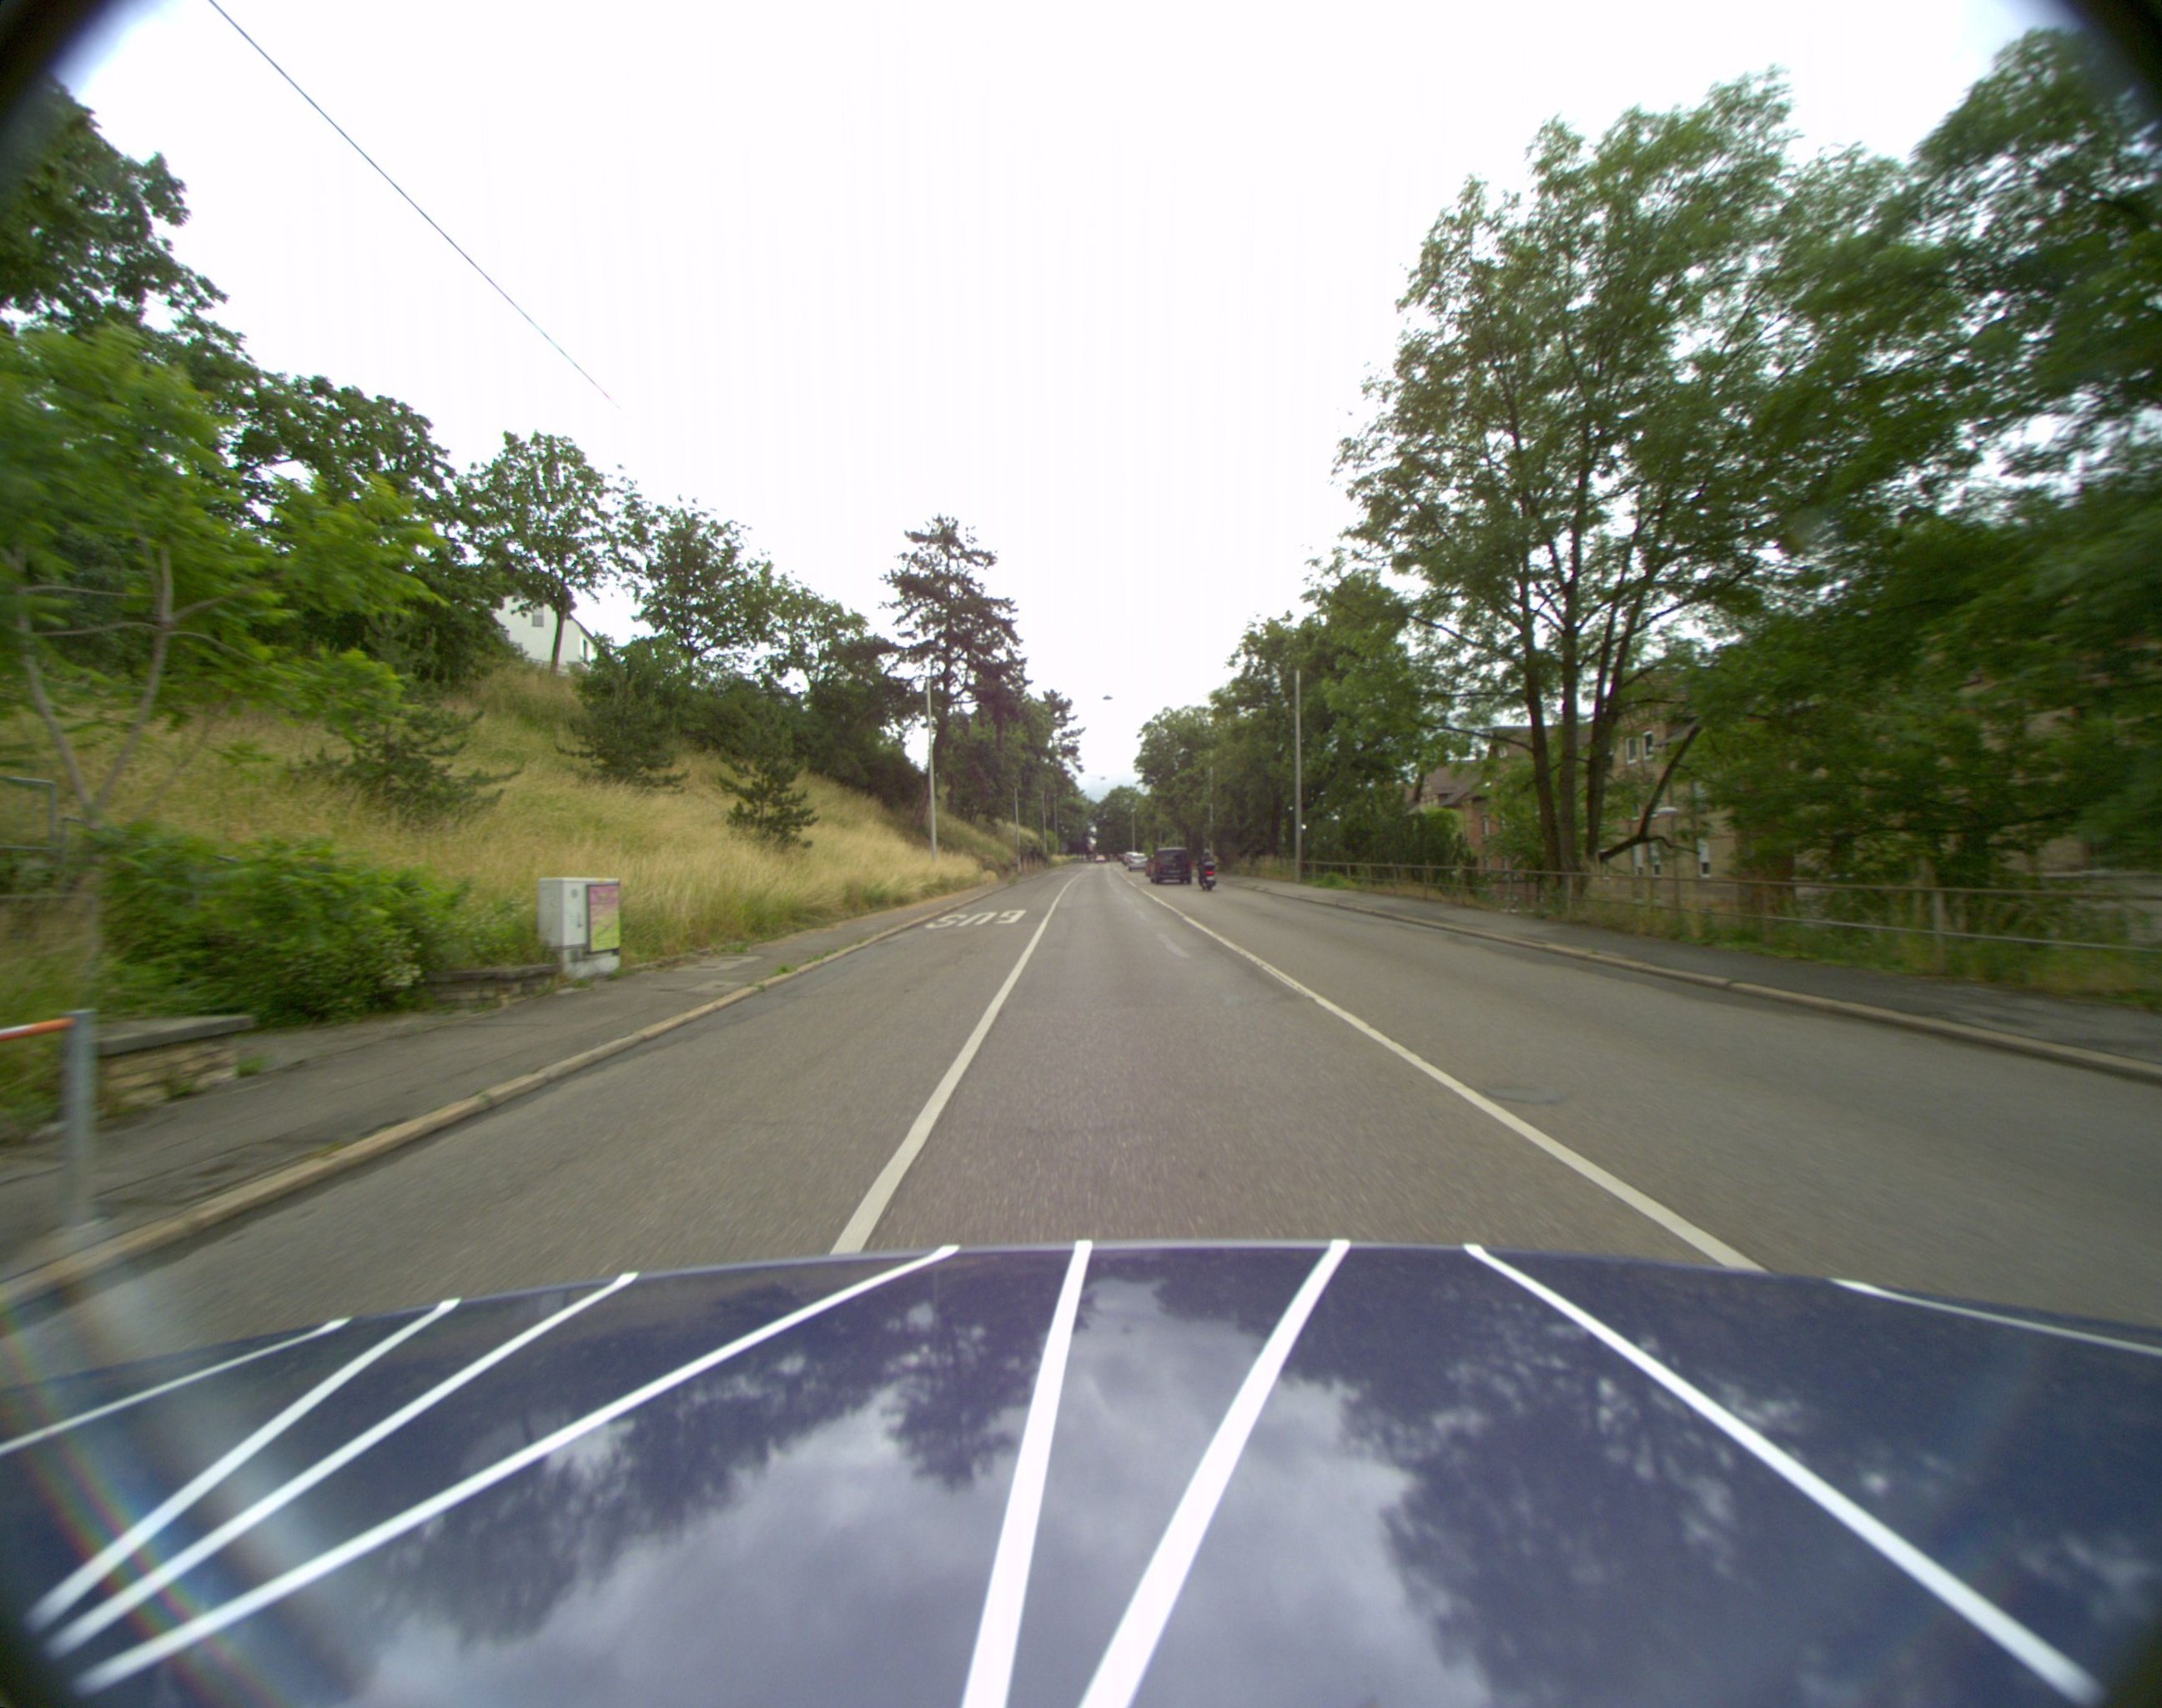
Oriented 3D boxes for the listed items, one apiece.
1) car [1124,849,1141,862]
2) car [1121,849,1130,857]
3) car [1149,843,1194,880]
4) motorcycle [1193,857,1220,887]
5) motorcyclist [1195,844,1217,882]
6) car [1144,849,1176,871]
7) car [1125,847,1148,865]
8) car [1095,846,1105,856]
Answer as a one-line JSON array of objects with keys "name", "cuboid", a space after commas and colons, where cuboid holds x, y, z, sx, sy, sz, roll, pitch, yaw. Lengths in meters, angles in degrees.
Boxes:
[{"name": "car", "cuboid": [6.669, 0.179, 99.034, 2.000, 1.673, 4.663, -1, 0, 2]}, {"name": "car", "cuboid": [8.507, -0.228, 144.860, 1.673, 1.439, 3.688, 0, 0, 2]}, {"name": "car", "cuboid": [4.554, 0.337, 38.778, 1.788, 1.736, 4.428, 0, 1, 0]}, {"name": "motorcycle", "cuboid": [5.028, 0.707, 30.606, 0.787, 1.139, 2.057, 0, 1, 1]}, {"name": "motorcyclist", "cuboid": [5.025, 0.344, 30.600, 0.787, 1.507, 0.668, 0, 1, 1]}, {"name": "car", "cuboid": [5.348, 0.369, 51.697, 1.788, 1.451, 4.428, 0, 1, 1]}, {"name": "car", "cuboid": [5.061, 0.189, 69.558, 1.788, 1.565, 4.280, 0, 1, 1]}, {"name": "car", "cuboid": [3.334, -0.526, 132.852, 1.788, 1.565, 4.280, 0, 1, 1]}]
